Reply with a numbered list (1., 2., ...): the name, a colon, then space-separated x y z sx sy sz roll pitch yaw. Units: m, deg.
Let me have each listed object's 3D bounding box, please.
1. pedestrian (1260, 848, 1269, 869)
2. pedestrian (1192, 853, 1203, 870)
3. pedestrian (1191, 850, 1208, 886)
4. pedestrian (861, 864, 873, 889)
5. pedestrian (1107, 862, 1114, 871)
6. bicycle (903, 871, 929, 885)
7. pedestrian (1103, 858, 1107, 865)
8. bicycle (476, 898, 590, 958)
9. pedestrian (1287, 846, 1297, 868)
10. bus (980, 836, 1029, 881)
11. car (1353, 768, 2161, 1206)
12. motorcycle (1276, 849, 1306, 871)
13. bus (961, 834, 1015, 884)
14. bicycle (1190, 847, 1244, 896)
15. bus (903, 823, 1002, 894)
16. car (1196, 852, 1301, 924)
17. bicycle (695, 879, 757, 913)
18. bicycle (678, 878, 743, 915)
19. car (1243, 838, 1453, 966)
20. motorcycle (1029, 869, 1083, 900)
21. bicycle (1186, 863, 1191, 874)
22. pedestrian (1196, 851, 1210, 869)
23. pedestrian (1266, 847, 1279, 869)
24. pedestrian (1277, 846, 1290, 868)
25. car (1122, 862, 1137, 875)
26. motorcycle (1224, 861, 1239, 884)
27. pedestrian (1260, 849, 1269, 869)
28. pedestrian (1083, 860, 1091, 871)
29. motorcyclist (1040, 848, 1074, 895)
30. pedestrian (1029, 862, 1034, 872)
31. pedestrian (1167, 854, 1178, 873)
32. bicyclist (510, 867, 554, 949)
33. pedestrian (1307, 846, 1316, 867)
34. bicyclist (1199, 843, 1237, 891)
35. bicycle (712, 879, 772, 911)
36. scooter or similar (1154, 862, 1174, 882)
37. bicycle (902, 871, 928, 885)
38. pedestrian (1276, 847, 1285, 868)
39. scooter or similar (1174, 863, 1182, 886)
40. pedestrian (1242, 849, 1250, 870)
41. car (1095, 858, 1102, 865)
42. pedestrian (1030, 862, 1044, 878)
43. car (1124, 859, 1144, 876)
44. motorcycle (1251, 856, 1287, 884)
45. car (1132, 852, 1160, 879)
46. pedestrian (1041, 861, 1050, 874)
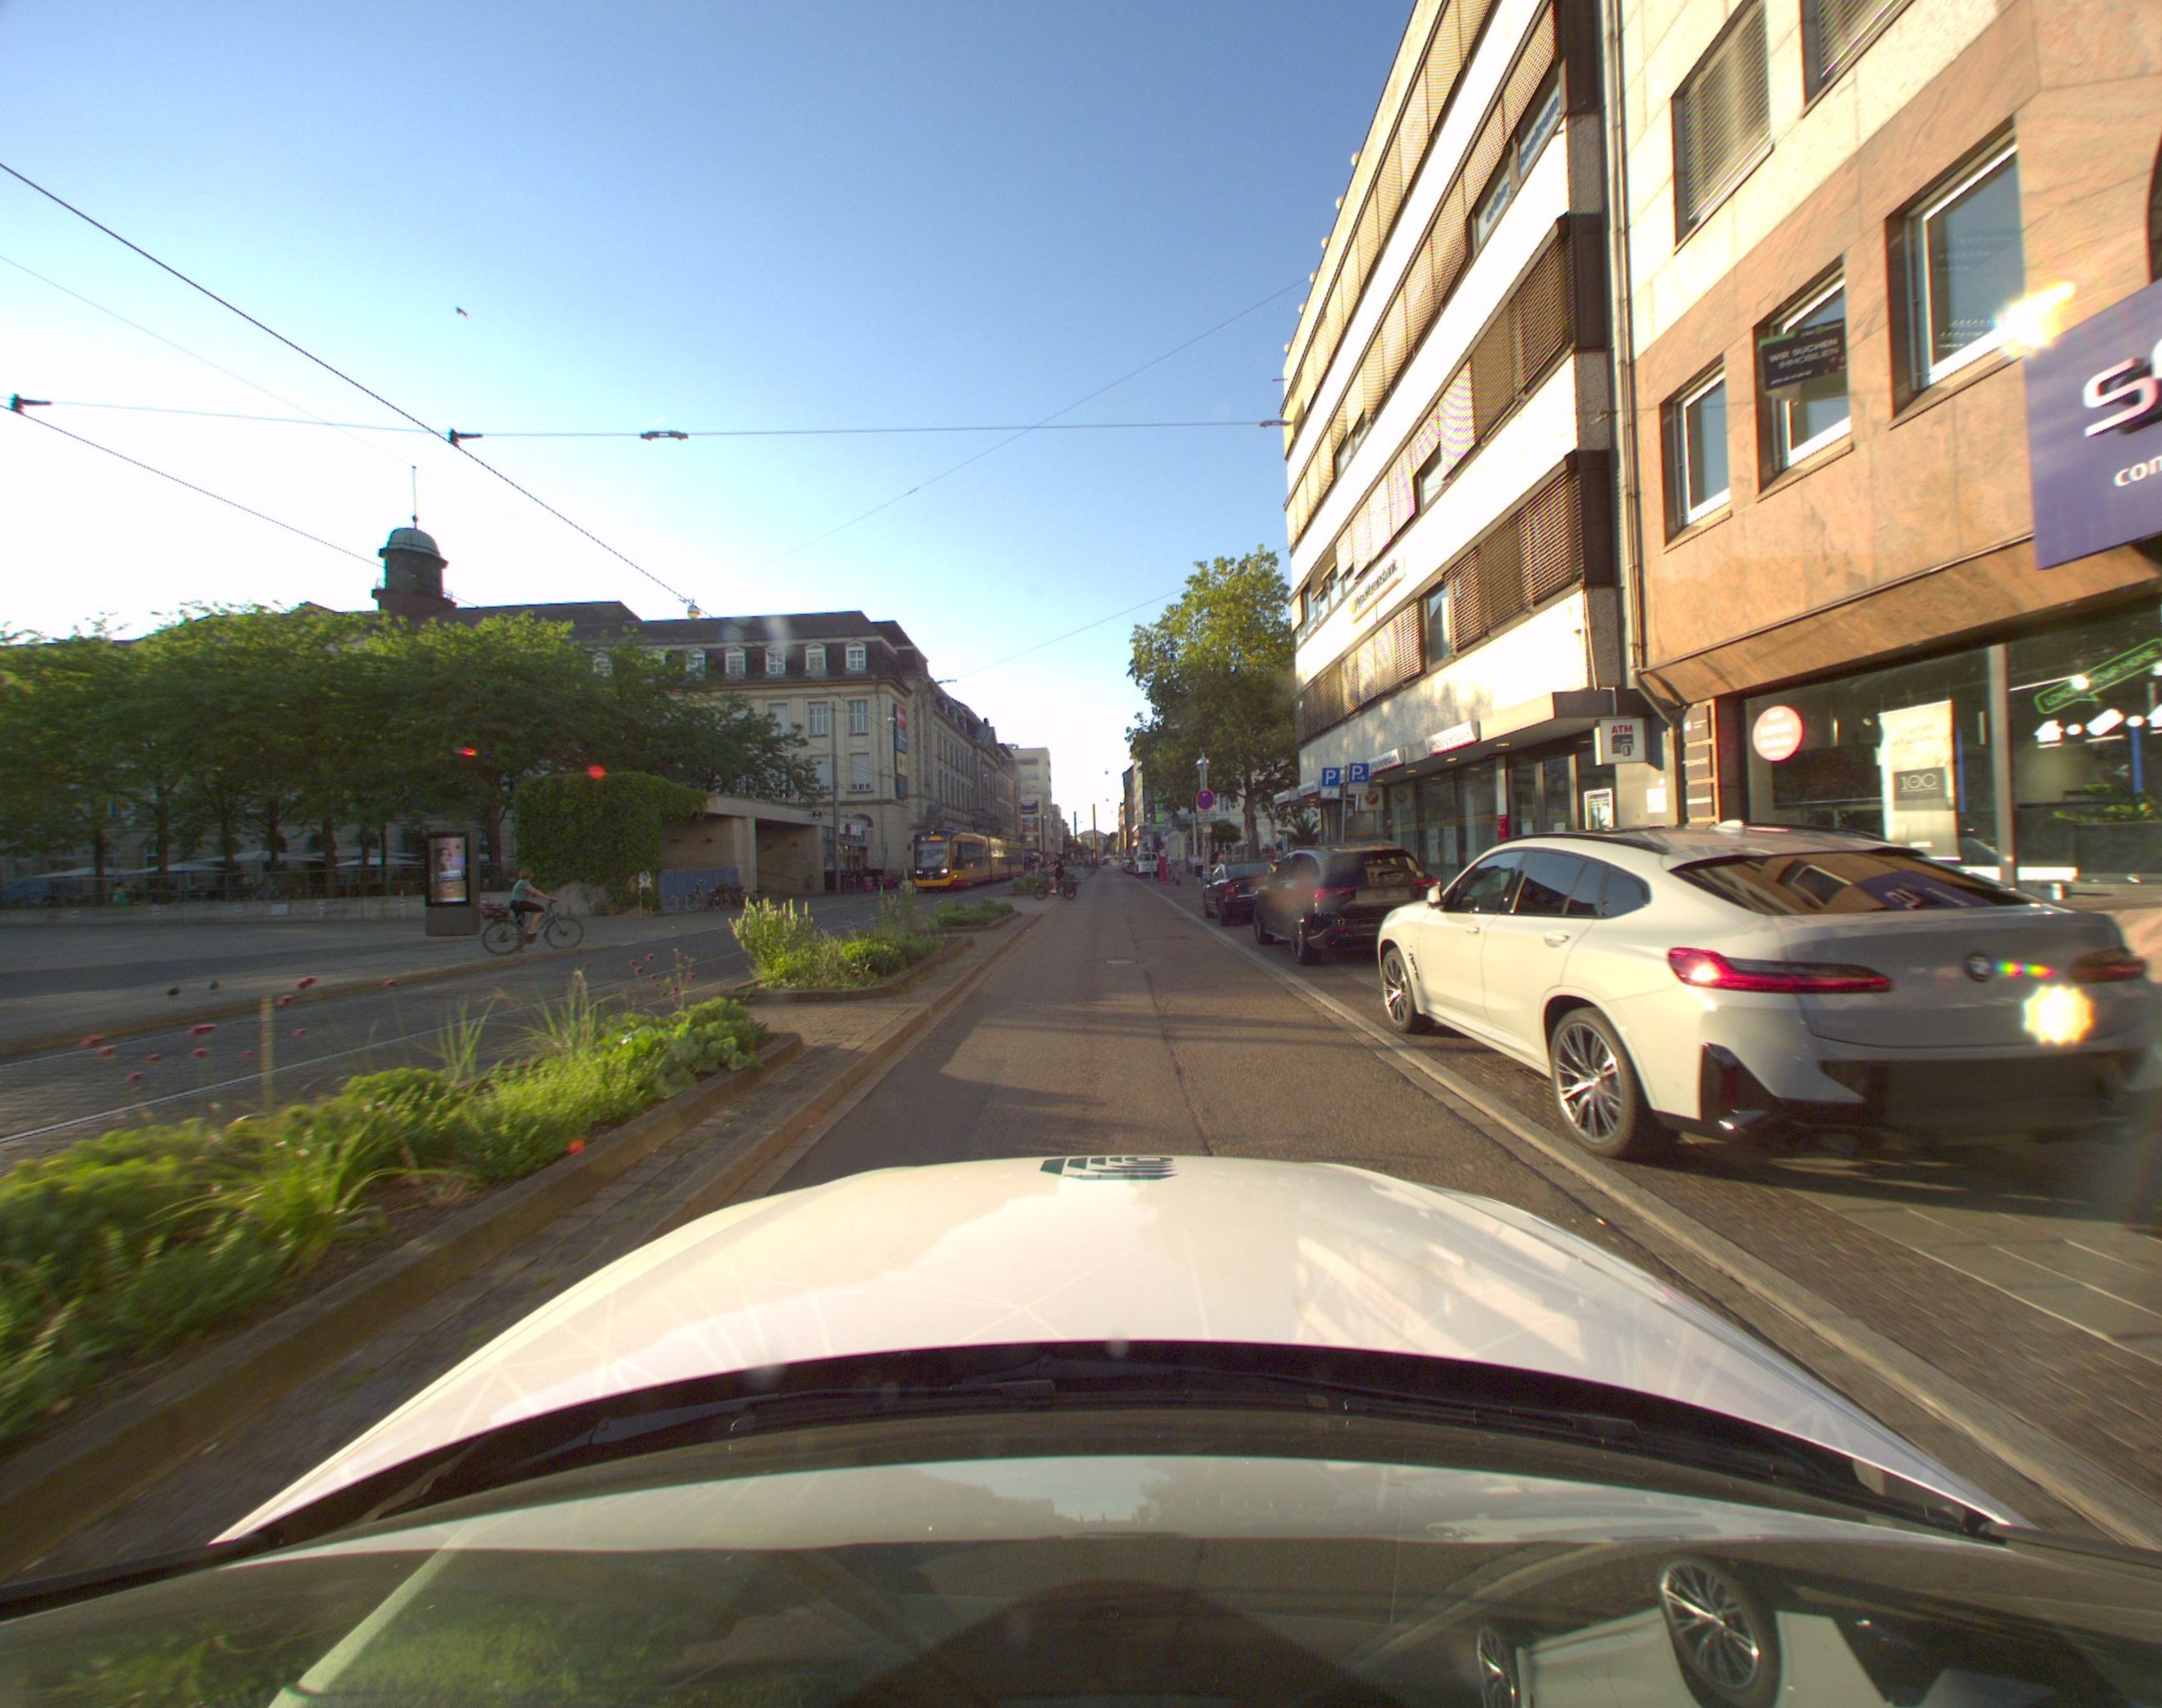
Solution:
1. pedestrian: 11.730 0.304 52.037 0.470 1.285 0.542 -3 -3 17
2. pedestrian: 9.803 0.634 68.516 0.820 1.306 0.870 -2 -2 1
3. pedestrian: 6.209 0.722 42.817 0.711 1.803 0.825 -4 -2 4
4. pedestrian: -14.044 1.474 53.492 0.717 1.646 0.655 -1 -1 -20
5. pedestrian: 6.452 2.669 179.391 1.231 1.928 1.017 -1 -1 -14
6. bicycle: -14.257 2.098 70.386 2.072 1.148 0.574 -2 -2 -4
7. pedestrian: 6.561 2.061 225.515 0.773 1.734 0.818 -4 -3 42
8. bicycle: -11.522 1.531 17.172 1.946 1.112 0.455 -1 -3 -39
9. pedestrian: 13.163 0.193 50.790 0.470 1.285 0.542 -3 -3 17
10. bus: -6.802 0.533 74.048 2.811 3.613 11.827 -2 -2 2
11. car: 3.412 0.513 5.399 1.809 1.585 4.726 -2 -1 3
12. motorcycle: 11.305 0.297 43.843 0.553 1.151 1.783 -1 1 -24
13. bus: -7.168 0.393 64.002 2.811 3.625 8.292 -2 -1 2
14. bicycle: 5.131 0.648 30.554 2.381 1.740 0.596 -1 -1 -42
15. bus: -7.574 0.299 51.336 2.811 3.651 17.080 -2 -1 2
16. car: 3.862 0.743 19.477 1.649 1.380 4.342 -6 -1 2
17. bicycle: -14.258 1.694 32.716 2.233 1.255 0.580 -2 -2 1
18. bicycle: -14.192 1.613 31.188 2.189 1.300 0.580 -2 -2 1
19. car: 3.810 0.565 12.502 1.769 1.538 4.580 -2 1 1
20. motorcycle: -0.988 1.200 32.261 2.052 1.123 0.564 -1 -3 -23
21. bicycle: 9.248 1.229 70.288 0.249 0.902 1.374 -2 -2 2
22. pedestrian: 9.754 0.481 65.090 0.899 1.314 0.967 -2 -2 1
23. pedestrian: 11.754 0.240 50.005 0.639 1.285 0.744 -3 -3 18
24. pedestrian: 12.367 0.201 49.749 0.639 1.285 0.744 -3 -3 18
25. car: 6.807 2.074 115.257 1.986 1.667 4.422 -2 -2 1
26. motorcycle: 7.919 0.976 42.981 0.453 1.158 2.032 -2 -1 2
27. pedestrian: 11.863 0.323 52.669 0.470 1.285 0.542 -3 -3 16
28. pedestrian: 0.912 1.870 128.138 1.041 1.686 0.911 -3 -3 13
29. motorcyclist: -0.953 0.708 32.306 1.006 1.813 0.952 -1 -3 -23
30. pedestrian: -7.878 2.008 129.403 0.777 1.580 0.676 -2 -1 -10
31. pedestrian: 8.643 0.924 77.113 0.785 1.751 0.893 -2 -2 -5
32. bicyclist: -11.590 1.133 17.180 0.708 1.668 0.621 0 -3 -39
33. pedestrian: 14.240 0.145 50.380 0.470 1.285 0.542 -3 -3 17
34. bicyclist: 5.153 0.488 30.623 0.937 1.776 0.959 -1 -1 -41
35. bicycle: -14.303 1.712 34.388 2.233 1.232 0.585 -2 -1 1
36. scooter or similar: 5.220 1.121 51.172 1.120 1.216 0.300 -3 -1 2
37. bicycle: -14.214 2.072 69.719 2.092 1.148 0.574 -2 -2 -4
38. pedestrian: 12.545 0.241 51.240 0.470 1.285 0.542 -3 -3 17
39. scooter or similar: 5.214 1.095 43.751 0.313 1.221 1.275 -2 -1 9
40. pedestrian: 10.796 0.345 53.285 0.470 1.330 0.542 -3 -3 16
41. car: 4.943 2.138 227.131 1.754 1.827 3.571 -2 -2 1
42. pedestrian: -4.072 1.487 75.959 0.710 1.514 1.043 -5 -3 45
43. car: 5.756 1.485 89.115 1.986 1.761 4.422 -2 -1 2
44. motorcycle: 10.036 0.857 43.565 0.567 1.423 2.278 -1 -1 -24
45. car: 5.117 0.945 64.363 1.908 1.981 4.422 -2 -1 2
46. pedestrian: -4.579 1.732 103.956 1.048 1.686 0.905 -2 -1 -8
